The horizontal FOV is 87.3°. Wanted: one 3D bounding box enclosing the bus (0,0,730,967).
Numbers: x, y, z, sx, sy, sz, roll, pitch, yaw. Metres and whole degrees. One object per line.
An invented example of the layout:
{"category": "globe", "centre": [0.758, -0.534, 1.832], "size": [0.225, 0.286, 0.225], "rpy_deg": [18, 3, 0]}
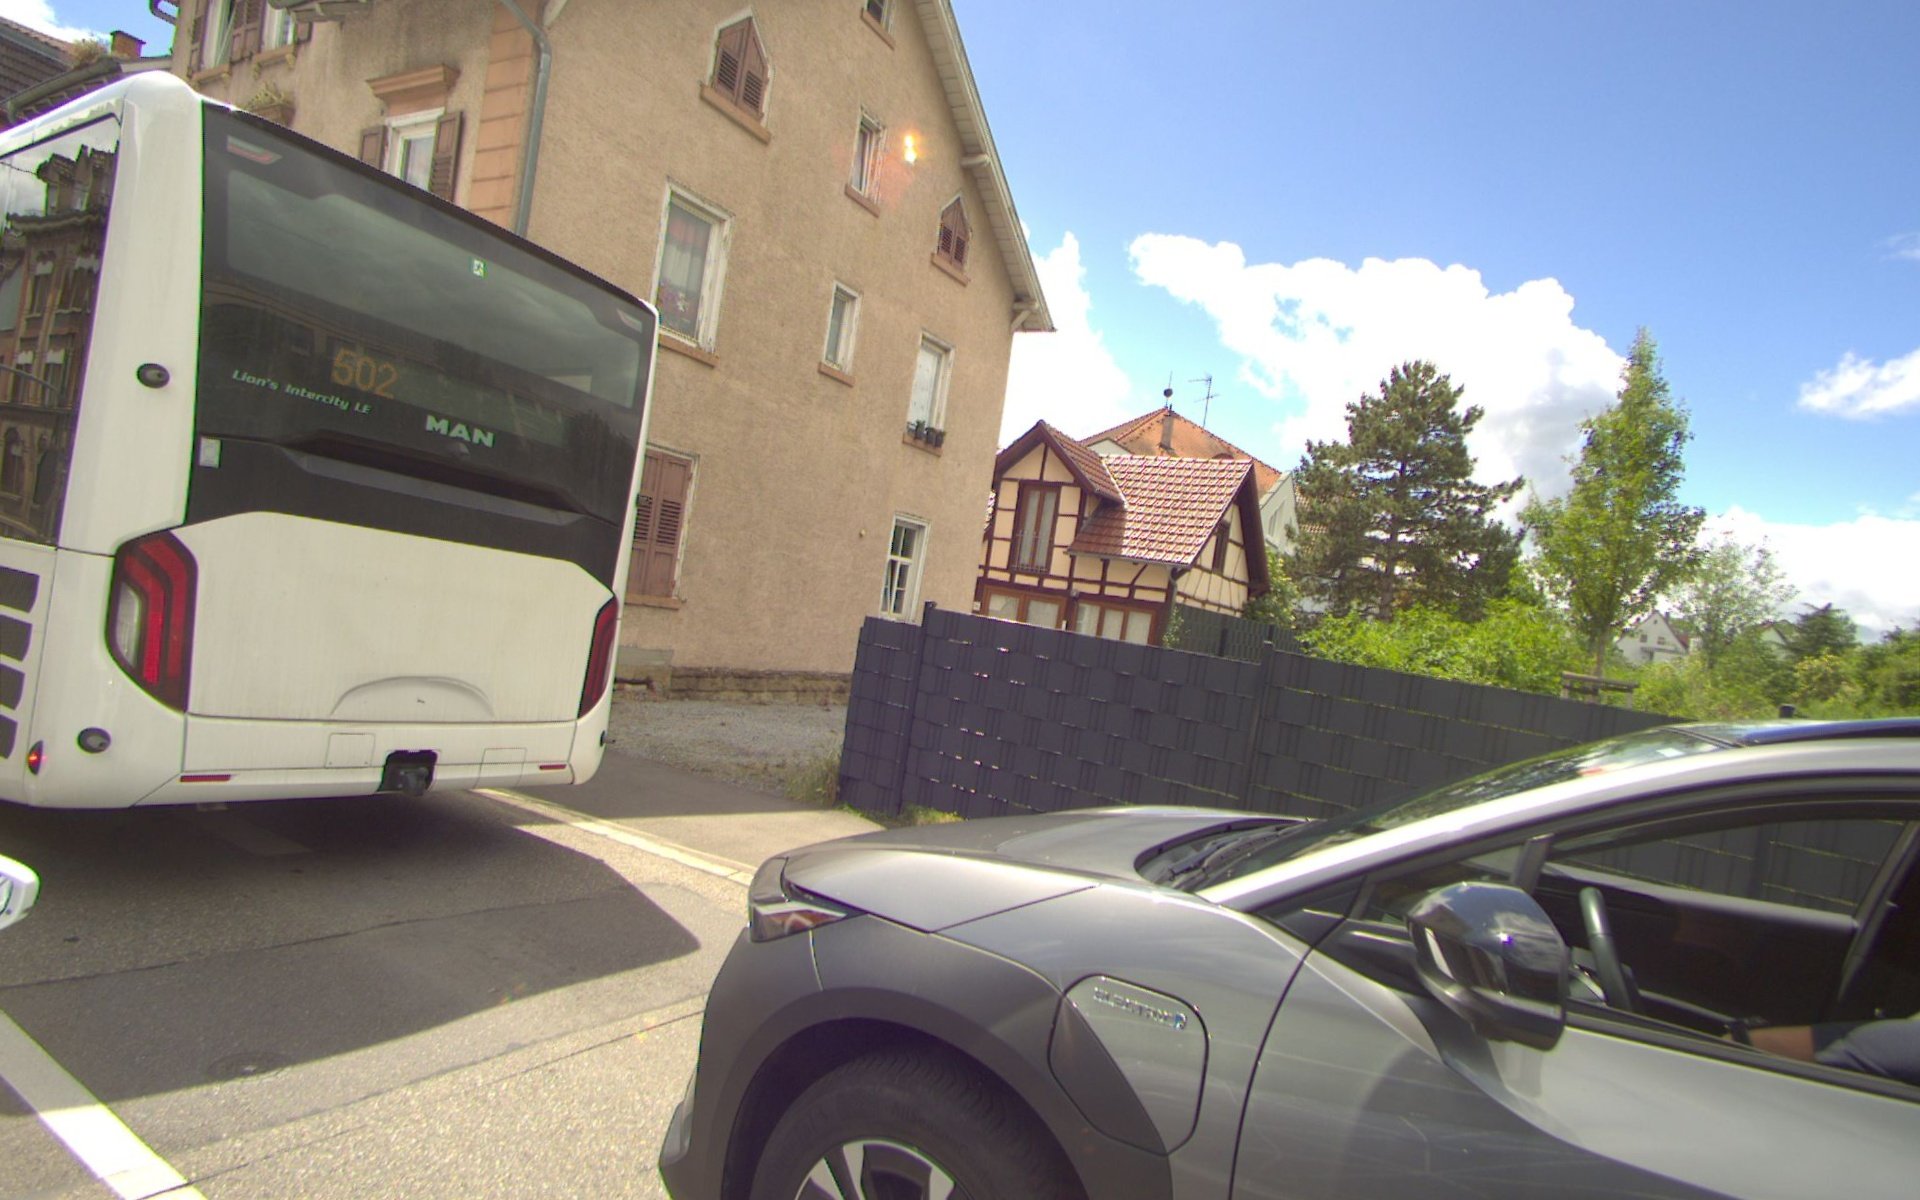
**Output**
{"category": "bus", "centre": [-7.473, -0.957, 7.803], "size": [12.281, 3.551, 2.910], "rpy_deg": [6, -2, 32]}

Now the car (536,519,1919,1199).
{"category": "car", "centre": [1.575, 0.953, 1.867], "size": [4.504, 1.648, 1.997], "rpy_deg": [7, -1, 31]}
